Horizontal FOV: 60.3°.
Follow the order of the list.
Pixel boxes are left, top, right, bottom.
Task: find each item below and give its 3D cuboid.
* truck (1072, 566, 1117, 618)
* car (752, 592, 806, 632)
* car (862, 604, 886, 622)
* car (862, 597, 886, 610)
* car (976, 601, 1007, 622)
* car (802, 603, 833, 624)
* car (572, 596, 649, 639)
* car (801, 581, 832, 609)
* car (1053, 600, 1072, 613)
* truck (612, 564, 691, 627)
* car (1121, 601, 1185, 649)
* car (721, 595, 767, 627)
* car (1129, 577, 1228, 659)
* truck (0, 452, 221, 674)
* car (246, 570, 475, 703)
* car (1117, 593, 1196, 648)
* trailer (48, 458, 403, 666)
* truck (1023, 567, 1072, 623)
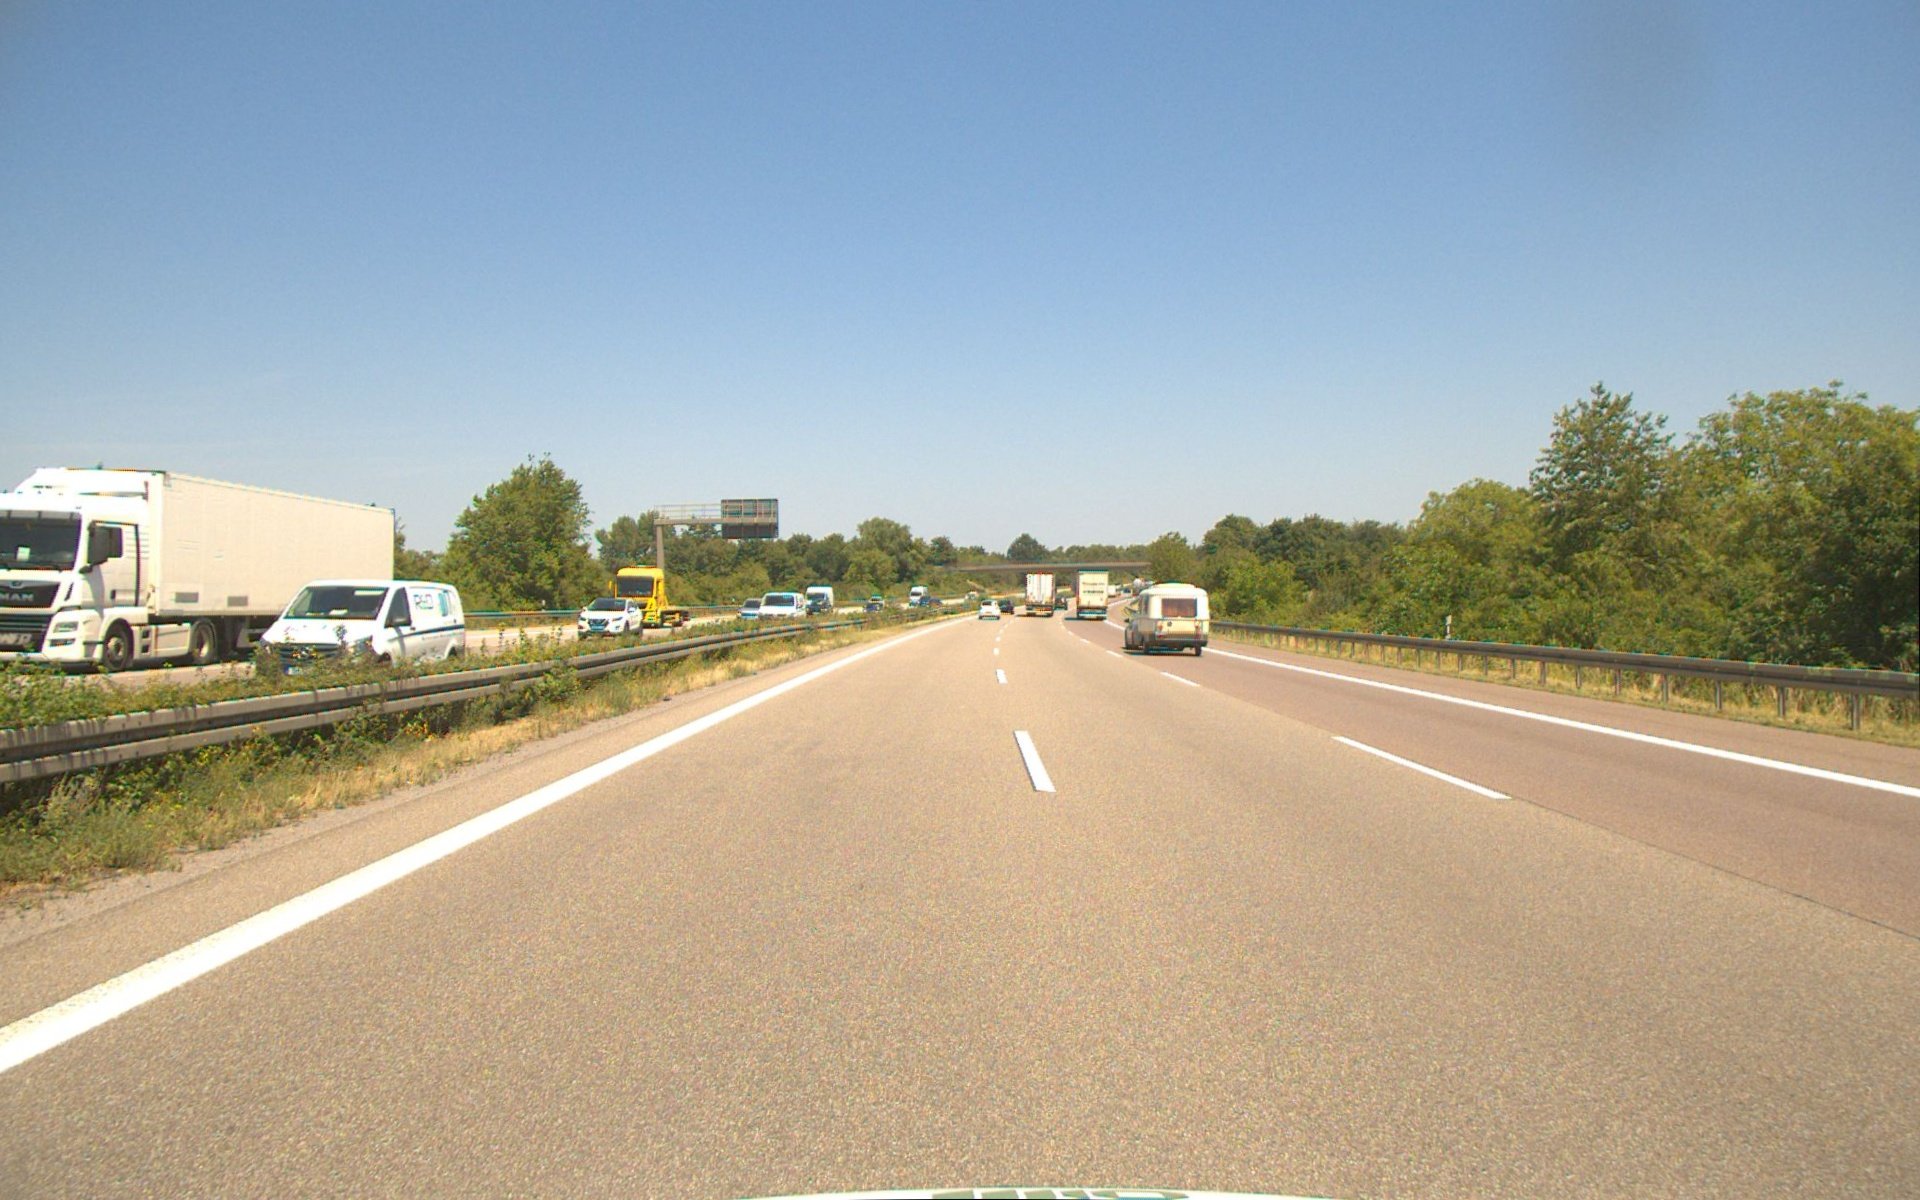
[{"bbox_3d":[12.046,-0.849,146.916,3.113,4.379,16.031,1,1,7],"label":"truck"},{"bbox_3d":[-8.869,0.561,81.395,1.952,1.914,5.722,0,0,1],"label":"car"},{"bbox_3d":[-6.628,0.994,127.760,1.598,1.378,3.829,0,0,1],"label":"car"},{"bbox_3d":[-10.056,0.423,193.220,1.951,1.483,4.091,0,0,10],"label":"car"},{"bbox_3d":[2.617,0.926,134.909,1.789,1.574,4.323,1,1,11],"label":"car"},{"bbox_3d":[-10.734,1.027,124.875,1.938,1.536,4.236,0,0,1],"label":"car"},{"bbox_3d":[-13.263,0.638,63.047,1.953,1.575,4.726,0,0,0],"label":"car"},{"bbox_3d":[-13.155,-0.480,152.124,2.087,2.520,6.335,0,0,2],"label":"car"},{"bbox_3d":[13.234,0.781,213.028,1.789,1.574,4.323,1,1,11],"label":"car"},{"bbox_3d":[-16.585,-0.246,89.651,2.470,3.207,9.667,0,0,0],"label":"truck"},{"bbox_3d":[6.916,0.863,59.604,1.848,1.542,5.382,1,1,2],"label":"car"},{"bbox_3d":[-12.285,0.610,94.476,1.952,1.766,4.814,0,0,1],"label":"car"},{"bbox_3d":[6.898,0.504,52.730,2.392,2.362,5.322,-1,1,0],"label":"car"},{"bbox_3d":[-17.630,-0.700,33.690,2.772,4.153,5.165,1,0,0],"label":"truck"},{"bbox_3d":[-9.851,0.499,27.697,1.953,1.973,5.337,1,1,-1],"label":"car"},{"bbox_3d":[6.899,0.679,58.544,2.003,1.687,5.509,-1,2,-1],"label":"car"},{"bbox_3d":[-17.629,-0.786,41.341,2.777,4.332,13.636,1,0,0],"label":"trailer"},{"bbox_3d":[8.618,-0.648,159.945,3.588,5.105,16.031,1,1,7],"label":"truck"}]
